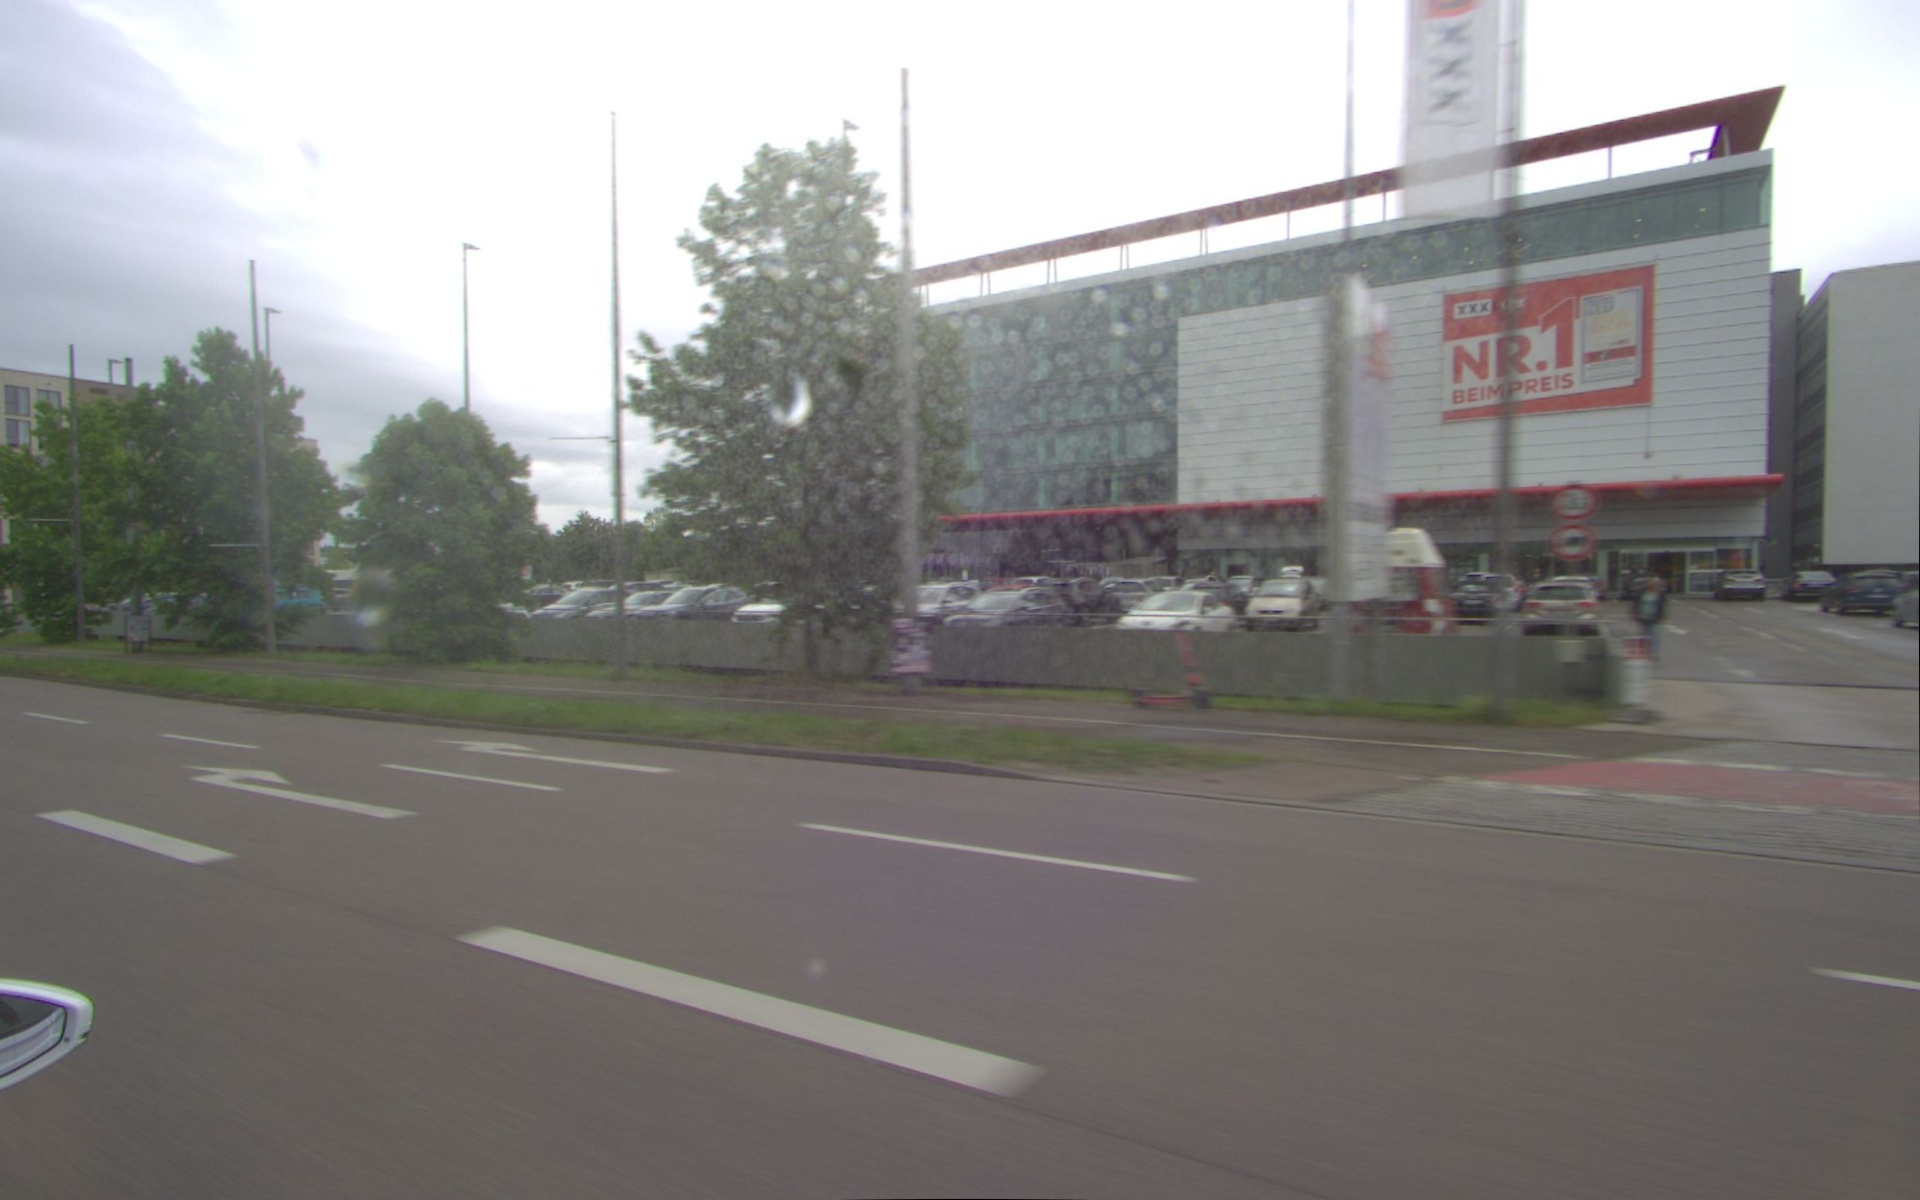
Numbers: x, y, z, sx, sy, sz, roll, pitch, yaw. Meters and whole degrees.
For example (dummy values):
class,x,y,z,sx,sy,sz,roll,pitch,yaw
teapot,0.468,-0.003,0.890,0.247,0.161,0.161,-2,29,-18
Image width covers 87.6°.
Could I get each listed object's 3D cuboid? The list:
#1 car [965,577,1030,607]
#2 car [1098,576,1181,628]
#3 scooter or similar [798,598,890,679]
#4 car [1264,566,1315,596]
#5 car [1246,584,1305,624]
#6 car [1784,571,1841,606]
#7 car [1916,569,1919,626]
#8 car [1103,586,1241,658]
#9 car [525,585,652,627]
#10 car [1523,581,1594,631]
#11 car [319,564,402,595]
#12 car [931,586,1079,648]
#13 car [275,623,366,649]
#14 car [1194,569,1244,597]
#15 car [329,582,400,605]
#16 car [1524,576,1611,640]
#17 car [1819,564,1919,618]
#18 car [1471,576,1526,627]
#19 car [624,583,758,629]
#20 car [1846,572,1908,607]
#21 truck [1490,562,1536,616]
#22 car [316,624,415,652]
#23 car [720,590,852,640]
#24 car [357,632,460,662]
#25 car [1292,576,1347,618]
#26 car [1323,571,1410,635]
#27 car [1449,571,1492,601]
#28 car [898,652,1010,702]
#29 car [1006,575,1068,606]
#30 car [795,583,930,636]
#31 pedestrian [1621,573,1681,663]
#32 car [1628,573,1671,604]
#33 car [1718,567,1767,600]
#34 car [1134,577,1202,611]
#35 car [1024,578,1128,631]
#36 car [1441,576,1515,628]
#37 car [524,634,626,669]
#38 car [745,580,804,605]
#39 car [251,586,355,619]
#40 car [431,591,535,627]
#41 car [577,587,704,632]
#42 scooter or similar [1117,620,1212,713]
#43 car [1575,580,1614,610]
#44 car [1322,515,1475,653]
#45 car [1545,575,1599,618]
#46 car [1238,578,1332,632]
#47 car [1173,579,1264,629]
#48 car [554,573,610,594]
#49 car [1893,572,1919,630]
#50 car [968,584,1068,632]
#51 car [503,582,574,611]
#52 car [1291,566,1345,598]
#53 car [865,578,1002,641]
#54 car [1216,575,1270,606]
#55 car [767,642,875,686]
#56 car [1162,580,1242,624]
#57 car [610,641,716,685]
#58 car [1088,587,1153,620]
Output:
class,x,y,z,sx,sy,sz,roll,pitch,yaw
car,2.113,-0.421,55.643,1.719,1.575,3.779,2,1,37
car,7.399,0.094,41.049,1.950,2.040,3.977,-1,0,34
scooter or similar,-2.176,0.698,18.594,1.798,1.440,0.646,-1,1,42
car,18.108,-1.036,54.928,1.803,1.575,3.785,2,1,32
car,15.405,0.213,48.759,1.761,1.844,3.978,0,0,32
car,41.173,-0.589,48.448,1.628,1.581,3.593,1,2,34
car,34.907,-0.095,34.659,1.857,2.074,3.978,-1,0,33
car,5.136,0.459,23.782,1.931,1.481,4.368,2,1,30
car,-13.141,0.188,35.665,1.738,1.368,4.046,2,1,31
car,19.530,0.173,32.600,1.715,1.489,4.228,2,1,34
car,-45.772,-1.518,76.541,2.136,2.241,4.994,2,2,37
car,1.292,0.396,26.406,1.841,1.438,4.454,2,1,34
car,-36.196,2.002,56.755,1.739,1.368,4.044,0,-1,33
car,15.172,-0.972,58.600,1.717,1.575,3.763,2,1,33
car,-41.051,-0.471,69.125,1.760,1.528,3.830,2,2,36
car,16.868,0.194,27.705,1.808,1.605,4.400,2,1,34
car,32.547,-0.369,35.940,1.827,1.800,4.176,1,2,30
car,23.014,0.050,42.730,1.885,2.084,3.981,2,1,30
car,-8.672,0.170,32.628,1.783,1.368,4.144,2,1,31
car,43.746,-0.474,47.839,1.628,1.580,3.596,1,0,34
truck,25.581,-0.469,46.263,1.714,2.418,3.562,0,0,31
car,-26.509,1.654,44.756,1.494,1.146,3.506,0,-1,33
car,-5.241,0.424,30.625,1.738,1.368,4.046,2,1,31
car,-23.016,1.942,41.891,1.434,1.146,3.506,0,-1,33
car,16.878,-0.127,46.856,1.860,1.846,3.983,-1,0,28
car,12.504,0.075,30.698,1.709,1.792,3.726,2,1,34
car,28.304,-0.744,55.473,1.803,1.575,3.785,2,1,32
car,-0.137,2.513,33.201,1.739,1.368,4.044,0,-1,34
car,4.196,-0.510,54.291,1.717,1.608,3.556,0,0,37
car,-2.730,0.247,28.869,1.808,1.368,4.046,2,1,31
pedestrian,13.949,0.348,20.252,0.872,1.743,0.937,2,2,31
car,35.905,-0.585,52.194,1.699,1.497,3.519,2,1,33
car,39.345,-0.864,50.393,1.628,1.581,3.593,1,2,34
car,10.452,-0.298,50.147,1.856,1.632,3.975,2,1,35
car,4.227,0.141,36.023,1.863,1.767,4.299,2,1,35
car,17.608,0.067,33.941,1.762,1.656,3.976,0,0,34
car,-17.107,2.253,44.677,1.738,1.368,4.047,0,-1,31
car,-11.973,-0.466,64.760,1.679,1.576,3.619,2,1,37
car,-33.059,0.116,50.507,1.784,1.545,4.063,1,1,29
car,-18.888,0.342,39.753,1.581,1.325,3.511,2,1,27
car,-10.929,0.282,34.528,1.738,1.418,4.046,2,1,31
scooter or similar,2.808,0.890,13.788,1.230,1.207,0.369,1,2,33
car,34.101,-0.266,53.797,1.699,1.497,3.519,2,1,33
car,9.540,-0.332,21.548,2.140,2.614,4.710,2,2,34
car,25.203,-0.110,41.312,1.808,1.676,3.980,-1,0,31
car,10.543,0.136,32.274,1.853,1.617,3.977,2,1,34
car,8.671,0.141,33.384,1.861,1.554,3.979,0,0,32
car,-28.516,-1.241,75.531,1.679,1.516,3.619,2,1,37
car,27.543,0.026,27.767,1.669,1.602,3.886,1,1,32
car,2.231,0.294,37.510,1.809,1.686,4.160,0,0,35
car,-25.570,-0.209,60.853,1.679,1.655,3.619,2,2,37
car,18.689,-0.910,52.178,1.804,1.575,3.784,2,1,33
car,-0.652,0.229,27.648,1.739,1.562,4.043,2,1,34
car,15.554,-0.512,54.858,1.804,1.575,3.784,2,1,33
car,-5.047,2.312,36.823,1.739,1.368,4.045,0,-1,33
car,9.549,0.099,39.315,1.821,1.647,3.977,0,0,34
car,-12.207,2.548,41.378,1.738,1.572,4.046,0,0,32
car,8.355,0.163,51.804,1.752,1.583,3.975,2,1,35
